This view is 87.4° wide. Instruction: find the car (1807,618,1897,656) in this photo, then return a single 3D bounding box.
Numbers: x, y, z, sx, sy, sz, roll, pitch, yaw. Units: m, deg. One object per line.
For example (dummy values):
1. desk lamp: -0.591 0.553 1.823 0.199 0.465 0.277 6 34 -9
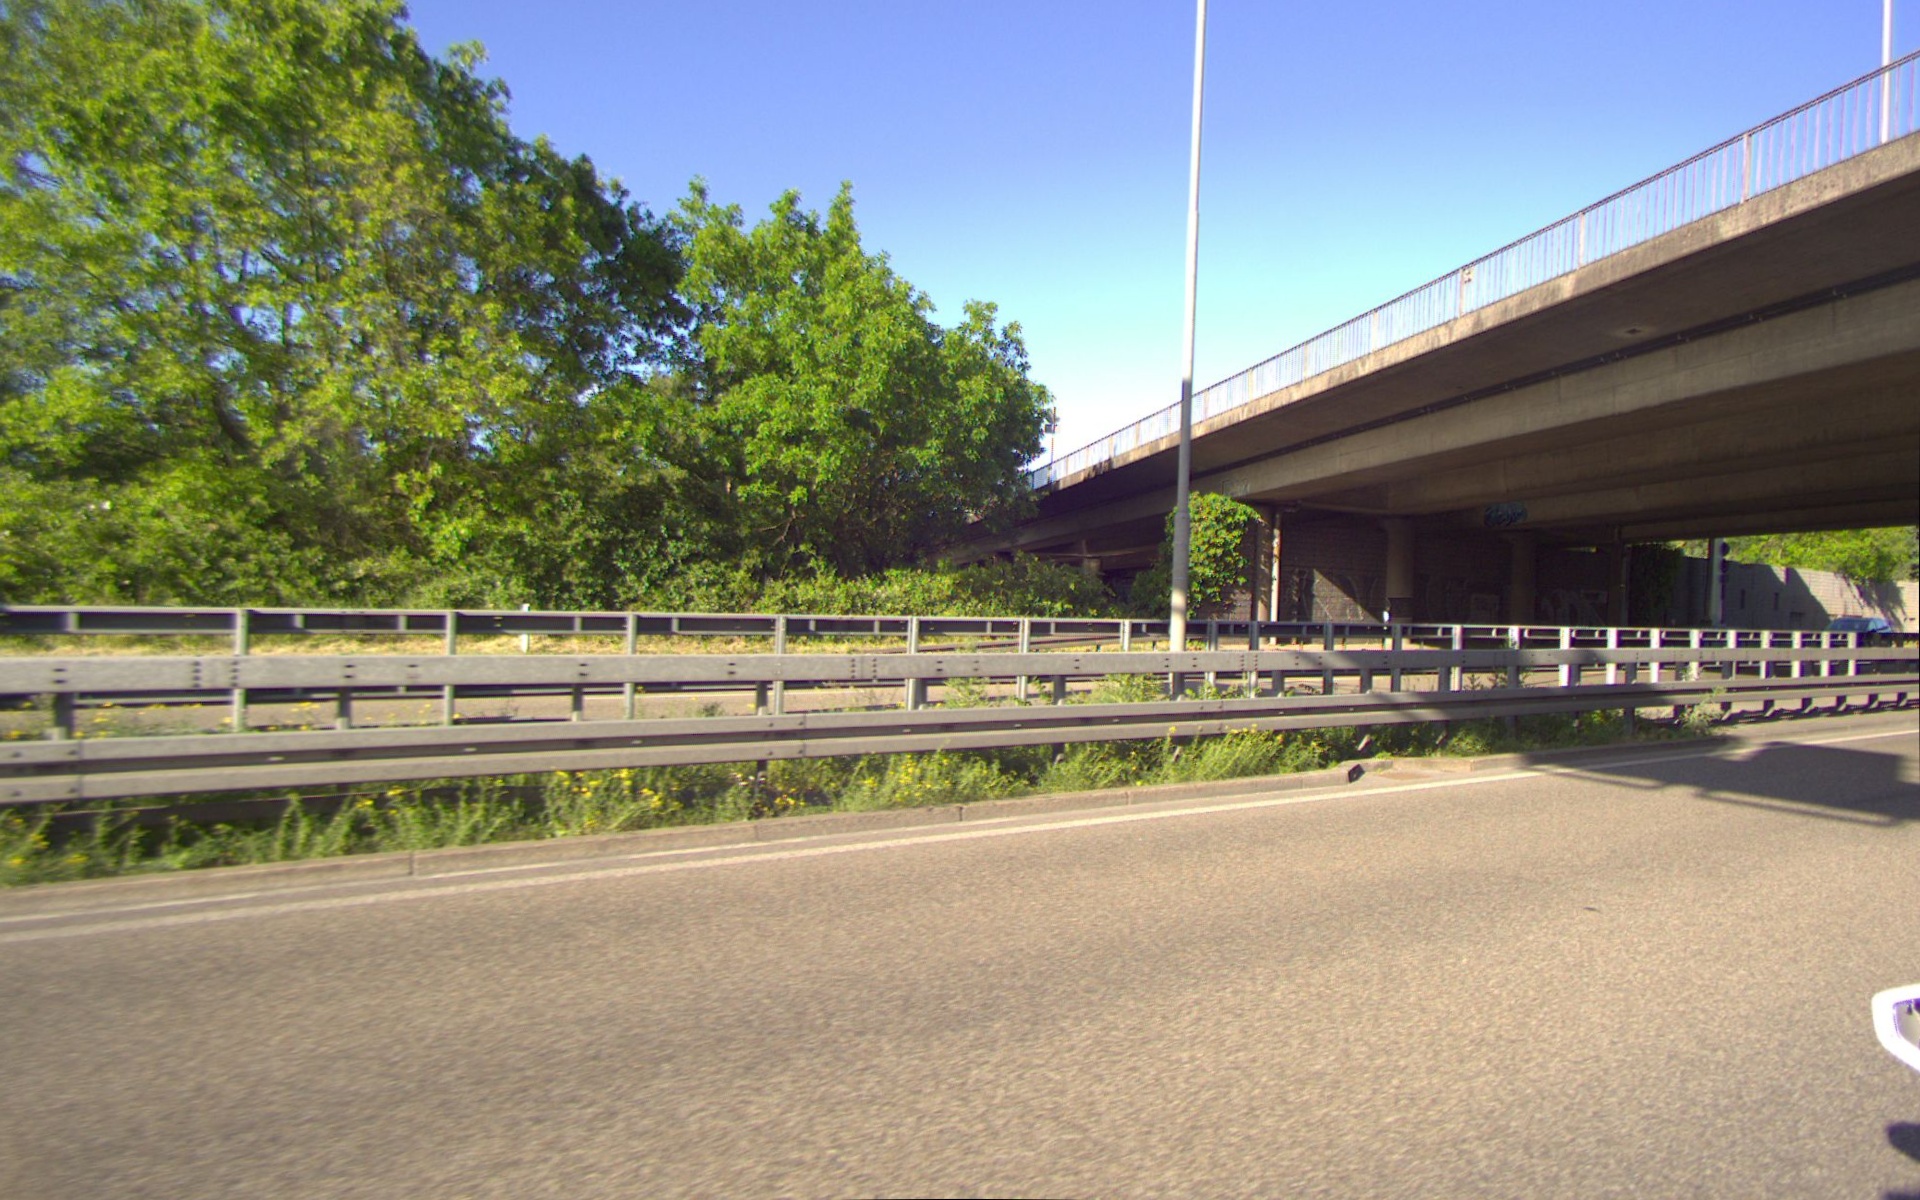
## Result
1. car: 42.220 1.729 47.519 4.509 1.728 1.983 1 0 -32
